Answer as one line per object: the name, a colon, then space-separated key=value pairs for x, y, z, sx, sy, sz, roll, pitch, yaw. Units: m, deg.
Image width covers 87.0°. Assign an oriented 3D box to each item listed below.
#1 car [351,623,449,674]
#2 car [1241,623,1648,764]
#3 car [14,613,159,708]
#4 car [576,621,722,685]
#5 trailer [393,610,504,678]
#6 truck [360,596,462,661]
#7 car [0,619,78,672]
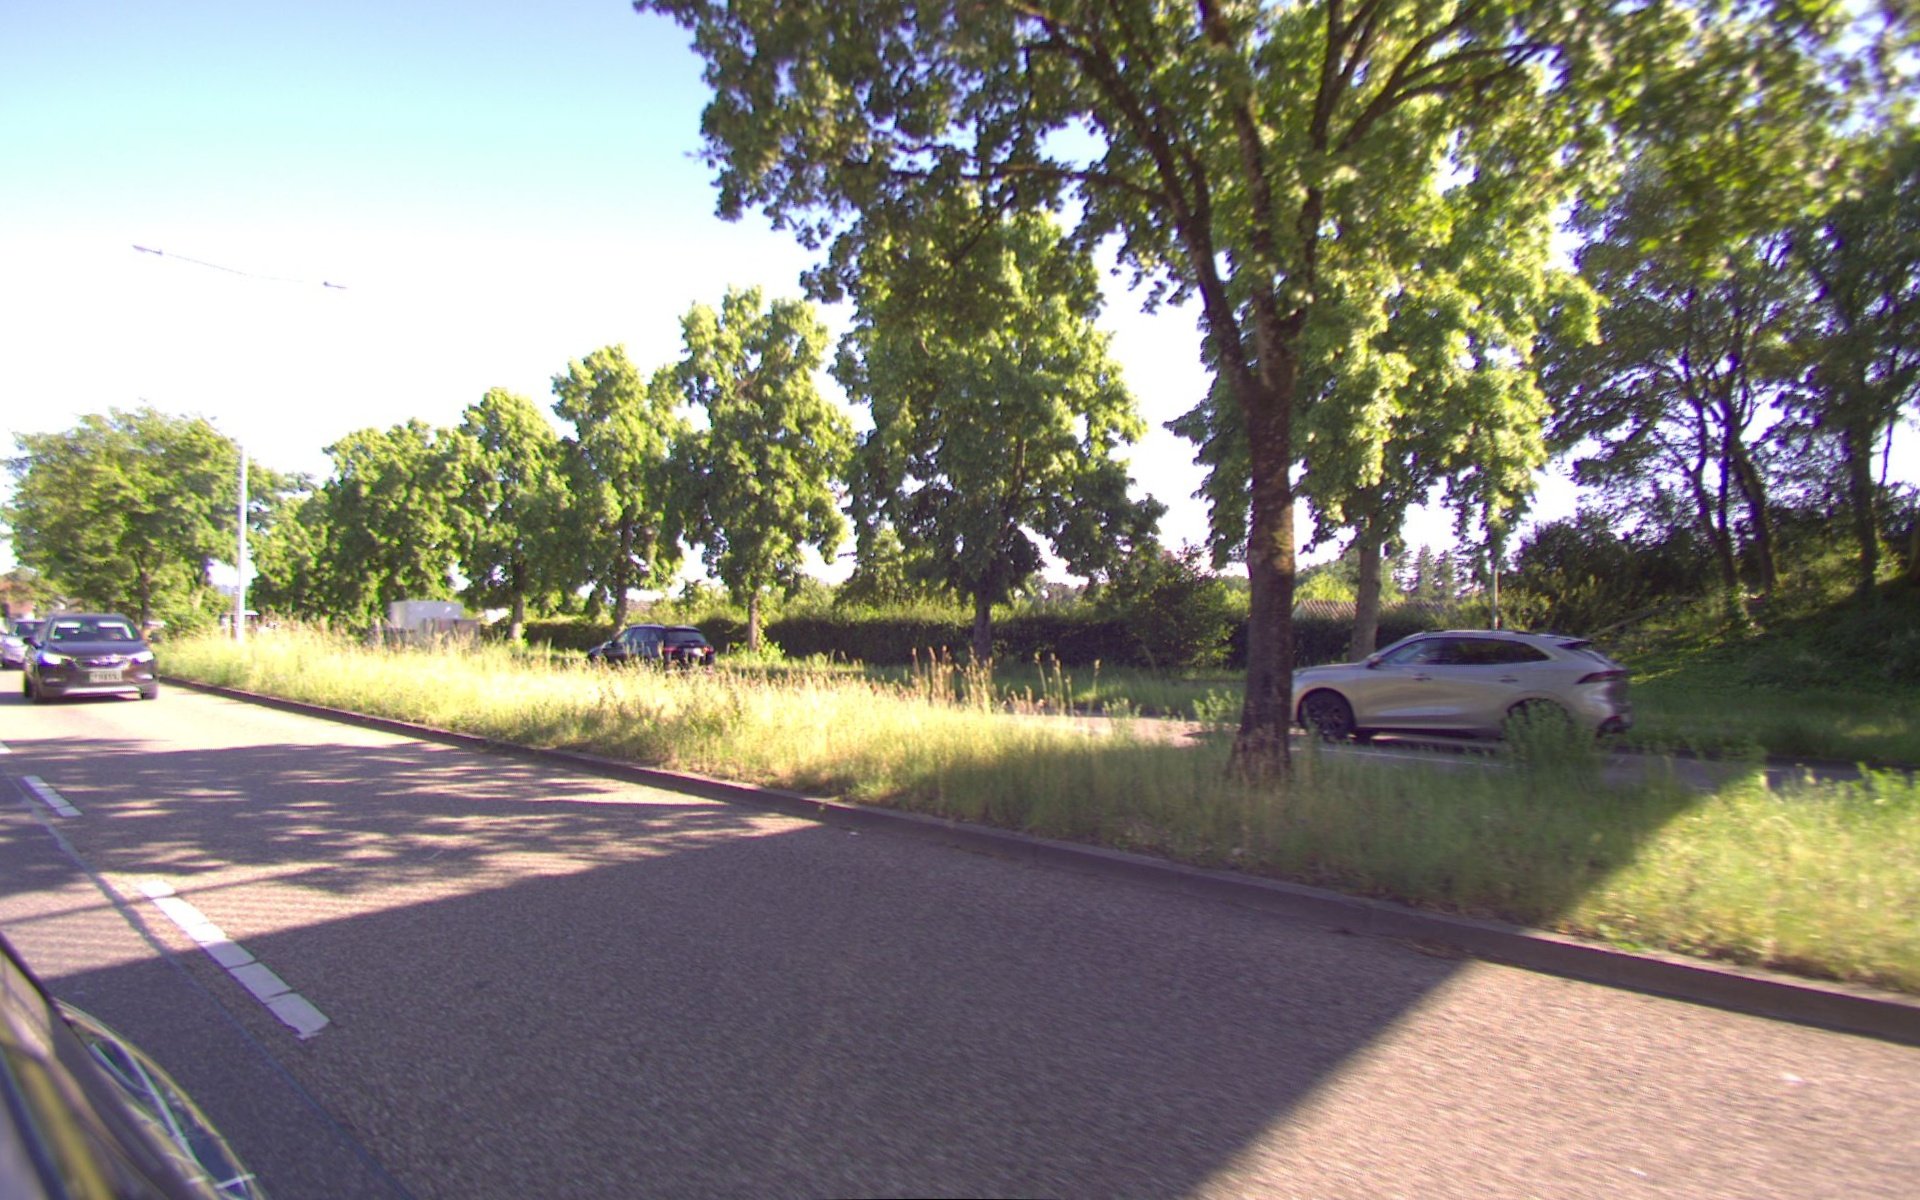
car: x=-18.689 y=1.570 z=33.733 sx=4.025 sy=1.594 sz=1.677 roll=-1 pitch=-2 yaw=43
car: x=6.631 y=1.193 z=14.253 sx=4.898 sy=1.659 sz=1.713 roll=-1 pitch=-4 yaw=41
car: x=-16.934 y=1.068 z=19.547 sx=1.786 sy=1.627 sz=4.517 roll=2 pitch=-2 yaw=-45
car: x=-8.665 y=1.412 z=27.997 sx=4.577 sy=1.632 sz=1.731 roll=-2 pitch=-2 yaw=42
trailer: x=-15.671 y=1.310 z=30.899 sx=4.281 sy=1.925 sz=1.546 roll=-2 pitch=-2 yaw=42
truck: x=-23.248 y=1.219 z=42.750 sx=2.147 sy=2.532 sz=5.745 roll=5 pitch=-5 yaw=-44
car: x=-29.461 y=1.416 z=32.245 sx=1.798 sy=1.574 sz=4.650 roll=1 pitch=-2 yaw=-44
